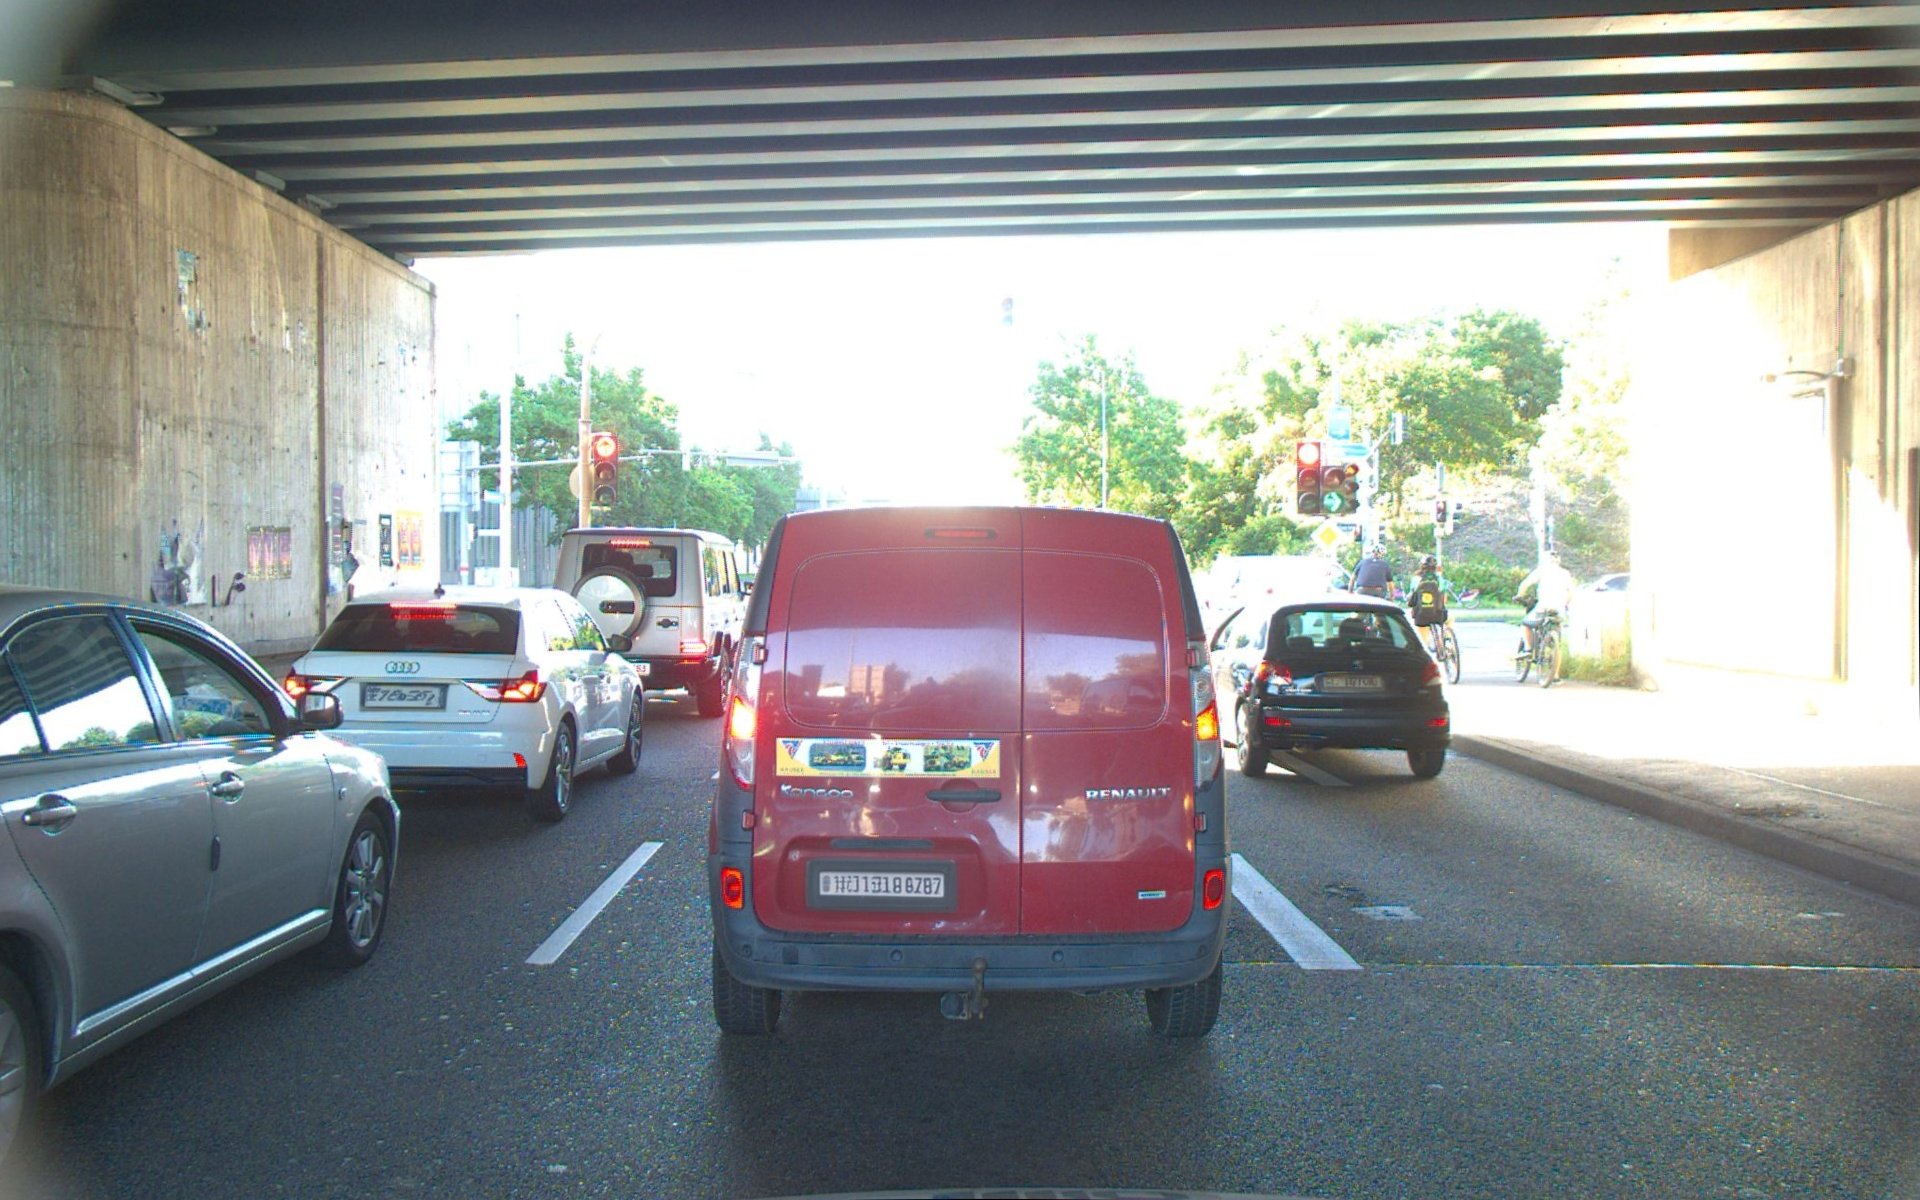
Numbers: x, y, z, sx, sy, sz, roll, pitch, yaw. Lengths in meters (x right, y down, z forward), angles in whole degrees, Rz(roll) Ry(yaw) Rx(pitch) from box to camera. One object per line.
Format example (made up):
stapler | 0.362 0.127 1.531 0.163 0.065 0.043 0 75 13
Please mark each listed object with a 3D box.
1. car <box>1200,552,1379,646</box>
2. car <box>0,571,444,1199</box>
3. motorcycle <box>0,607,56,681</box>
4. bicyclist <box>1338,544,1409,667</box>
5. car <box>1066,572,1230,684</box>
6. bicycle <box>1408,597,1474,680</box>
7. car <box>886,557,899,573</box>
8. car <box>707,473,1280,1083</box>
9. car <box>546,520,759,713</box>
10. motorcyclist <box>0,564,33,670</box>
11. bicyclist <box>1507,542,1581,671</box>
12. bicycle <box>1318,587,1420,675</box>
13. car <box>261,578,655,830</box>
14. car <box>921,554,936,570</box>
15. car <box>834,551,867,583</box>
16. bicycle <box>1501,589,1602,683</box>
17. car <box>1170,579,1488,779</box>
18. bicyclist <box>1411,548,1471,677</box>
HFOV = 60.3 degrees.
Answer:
car | 7.056 -0.073 35.159 1.788 1.865 4.273 2 2 43
car | -3.003 0.653 4.875 1.662 1.480 4.397 1 0 -2
motorcycle | -14.445 0.652 24.807 0.678 1.045 2.008 1 1 -1
bicyclist | 5.808 0.075 23.281 0.731 1.684 0.886 1 0 -2
car | 2.681 0.366 24.582 1.711 1.481 4.662 1 0 -3
bicycle | 6.337 0.491 21.847 0.662 1.042 1.530 1 0 10
car | -9.178 -4.753 224.995 1.712 2.049 3.843 1 0 -1
car | 0.076 0.521 6.930 1.684 1.795 3.999 1 0 -1
car | -3.367 0.158 18.805 1.777 1.937 3.812 1 0 -2
motorcyclist | -14.427 0.243 24.756 0.682 1.554 0.698 2 0 -1
bicyclist | 7.373 0.079 20.890 0.656 1.589 0.735 0 0 -1
bicycle | 5.818 0.410 23.688 0.750 1.166 2.469 -2 0 -2
car | -3.240 0.589 11.434 1.658 1.435 3.812 1 0 -2
car | -4.254 -5.043 220.704 1.953 2.049 3.999 1 0 -1
car | -7.388 -2.221 111.640 1.953 2.049 3.999 1 0 -1
bicycle | 7.387 0.436 20.737 0.667 1.132 1.603 0 0 -1
car | 3.016 0.587 14.277 1.711 1.481 3.714 1 0 -3
bicyclist | 6.333 0.166 21.802 0.663 1.657 0.644 1 0 10
